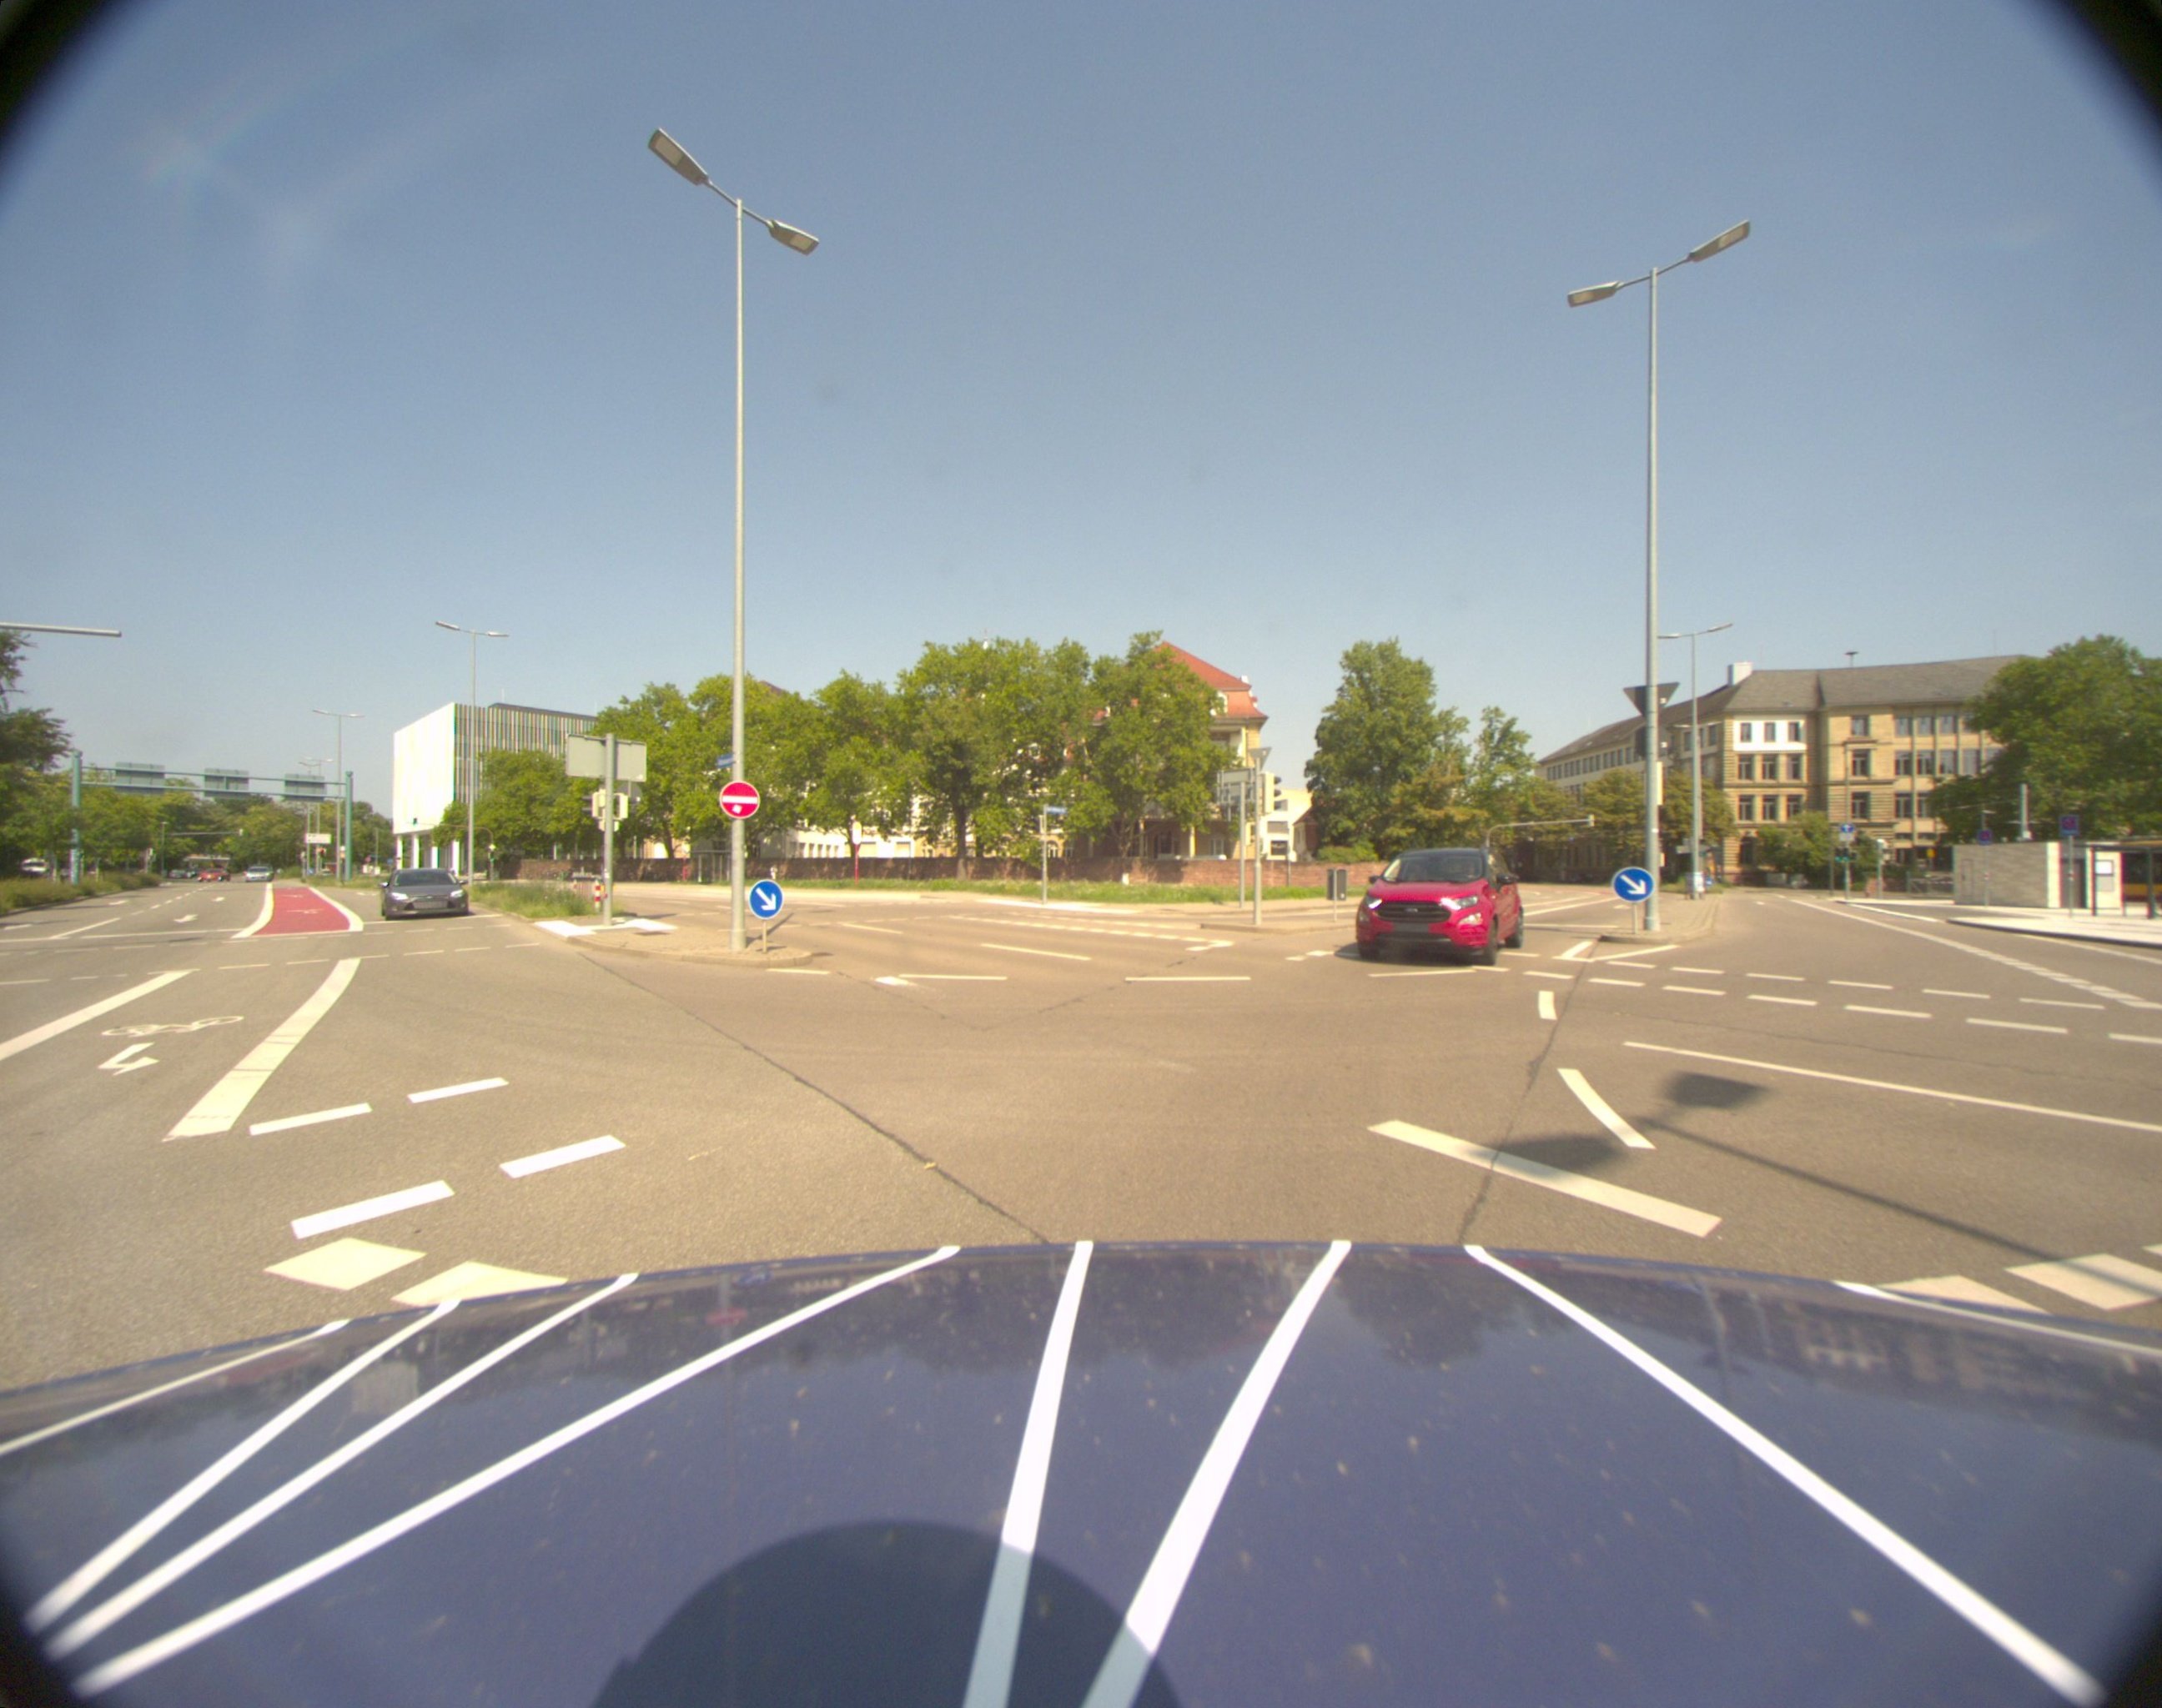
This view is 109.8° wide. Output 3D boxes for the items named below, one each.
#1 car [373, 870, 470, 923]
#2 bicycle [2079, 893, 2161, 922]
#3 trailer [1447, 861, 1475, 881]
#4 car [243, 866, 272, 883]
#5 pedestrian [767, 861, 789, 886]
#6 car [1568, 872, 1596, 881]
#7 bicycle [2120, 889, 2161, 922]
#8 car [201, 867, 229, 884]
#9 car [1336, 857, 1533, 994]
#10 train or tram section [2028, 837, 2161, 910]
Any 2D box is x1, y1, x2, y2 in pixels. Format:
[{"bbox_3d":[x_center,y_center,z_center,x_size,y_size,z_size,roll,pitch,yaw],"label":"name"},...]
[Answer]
[{"bbox_3d":[-19.378,1.181,22.294,3.414,1.349,1.795,-1,1,43],"label":"car"},{"bbox_3d":[35.838,1.831,26.234,0.491,0.878,1.900,1,-1,8],"label":"bicycle"},{"bbox_3d":[63.840,2.812,127.705,2.439,3.268,5.091,0,-1,3],"label":"trailer"},{"bbox_3d":[-84.752,2.096,78.222,3.988,1.668,2.004,-1,-1,44],"label":"car"},{"bbox_3d":[-24.745,1.557,61.979,1.232,2.001,1.074,1,-1,21],"label":"pedestrian"},{"bbox_3d":[68.030,3.060,103.216,3.056,1.169,1.252,1,-1,1],"label":"car"},{"bbox_3d":[37.325,1.788,26.225,0.526,1.075,1.867,1,-1,7],"label":"bicycle"},{"bbox_3d":[-98.788,2.423,86.662,4.183,1.905,2.089,0,-1,40],"label":"car"},{"bbox_3d":[5.431,0.887,11.395,1.840,1.605,4.008,0,1,38],"label":"car"},{"bbox_3d":[53.719,1.036,37.824,3.134,3.538,8.334,2,-2,5],"label":"train or tram section"}]
